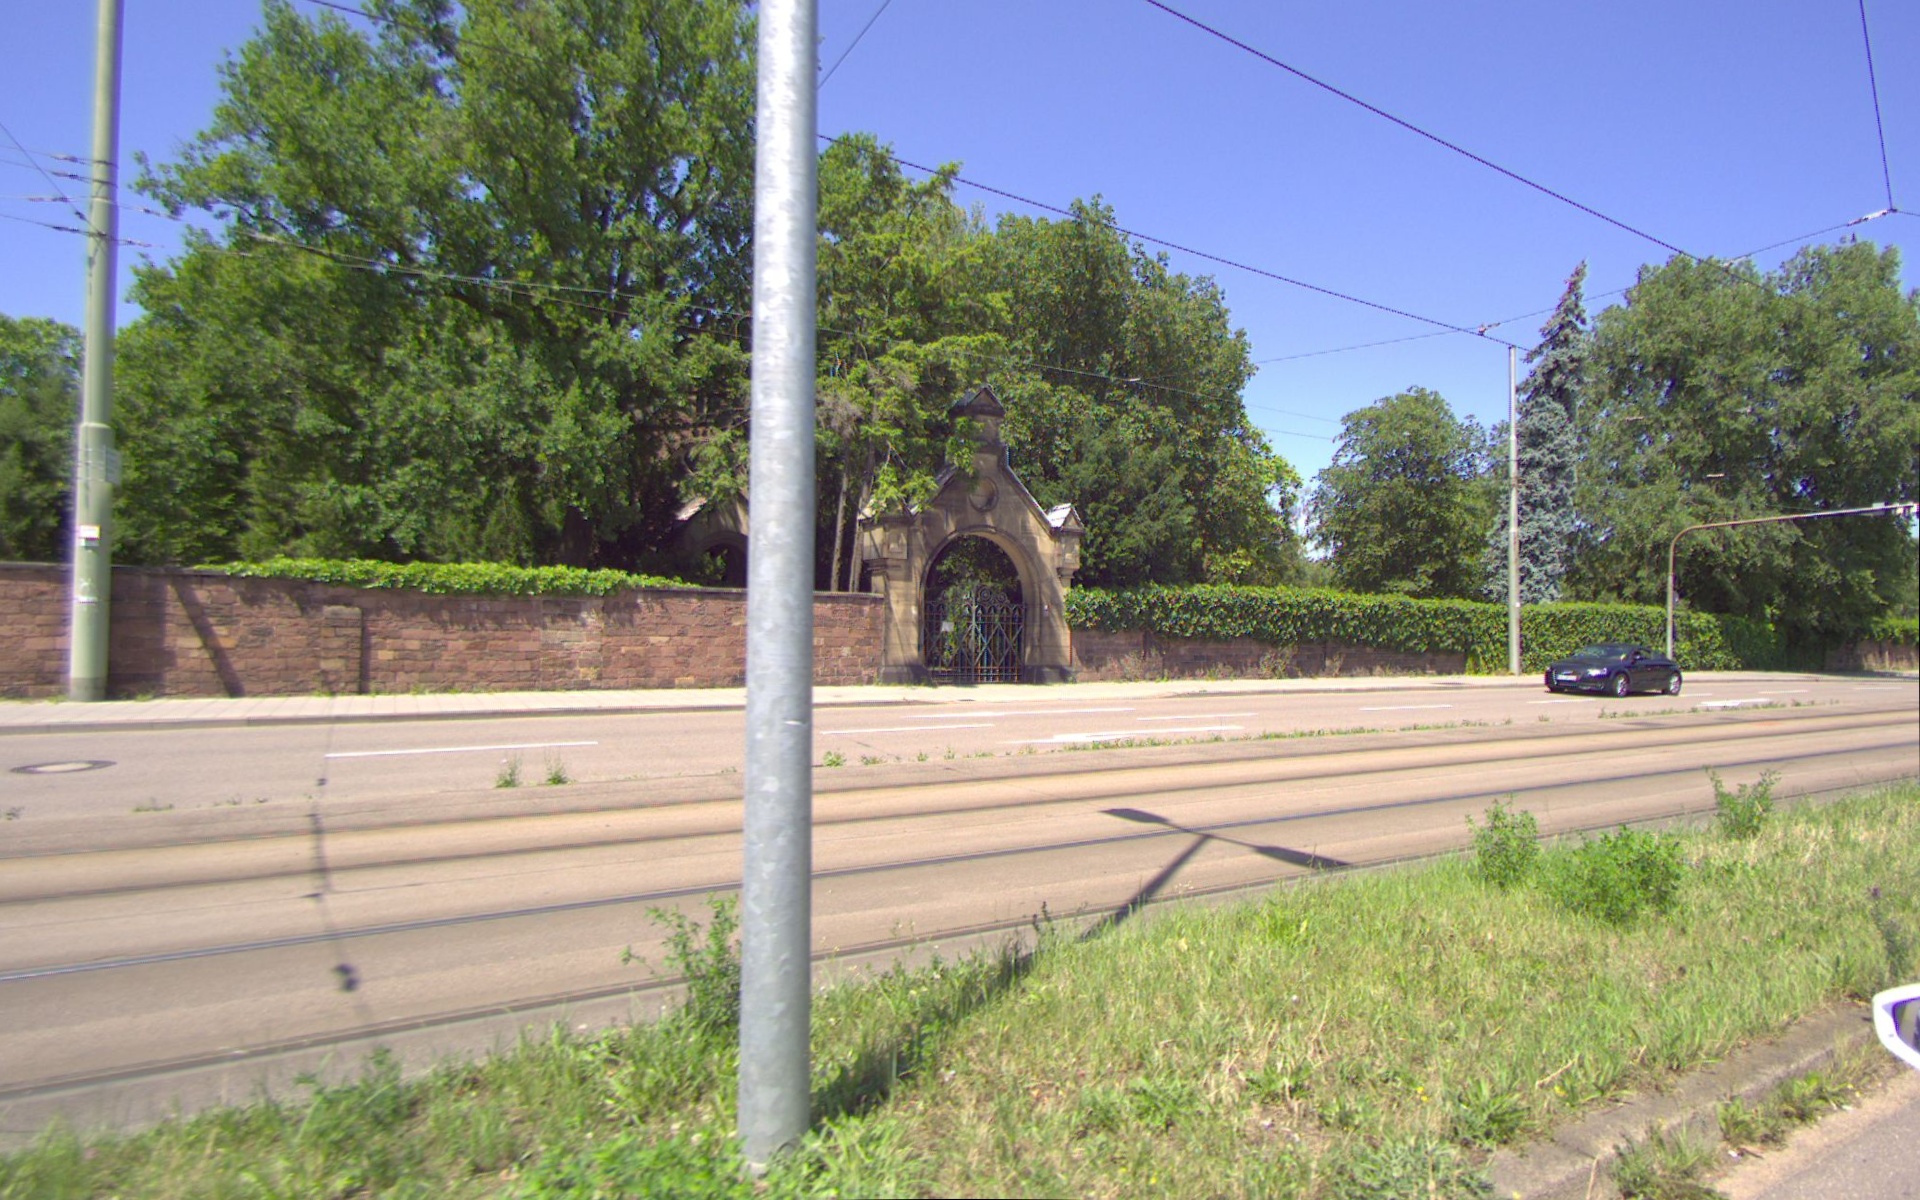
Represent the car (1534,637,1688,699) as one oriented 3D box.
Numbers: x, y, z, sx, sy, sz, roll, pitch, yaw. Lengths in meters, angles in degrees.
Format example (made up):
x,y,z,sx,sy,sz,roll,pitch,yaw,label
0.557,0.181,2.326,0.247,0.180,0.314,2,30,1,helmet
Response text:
x,y,z,sx,sy,sz,roll,pitch,yaw,label
17.442,1.790,26.883,4.073,1.468,1.748,2,0,-29,car
